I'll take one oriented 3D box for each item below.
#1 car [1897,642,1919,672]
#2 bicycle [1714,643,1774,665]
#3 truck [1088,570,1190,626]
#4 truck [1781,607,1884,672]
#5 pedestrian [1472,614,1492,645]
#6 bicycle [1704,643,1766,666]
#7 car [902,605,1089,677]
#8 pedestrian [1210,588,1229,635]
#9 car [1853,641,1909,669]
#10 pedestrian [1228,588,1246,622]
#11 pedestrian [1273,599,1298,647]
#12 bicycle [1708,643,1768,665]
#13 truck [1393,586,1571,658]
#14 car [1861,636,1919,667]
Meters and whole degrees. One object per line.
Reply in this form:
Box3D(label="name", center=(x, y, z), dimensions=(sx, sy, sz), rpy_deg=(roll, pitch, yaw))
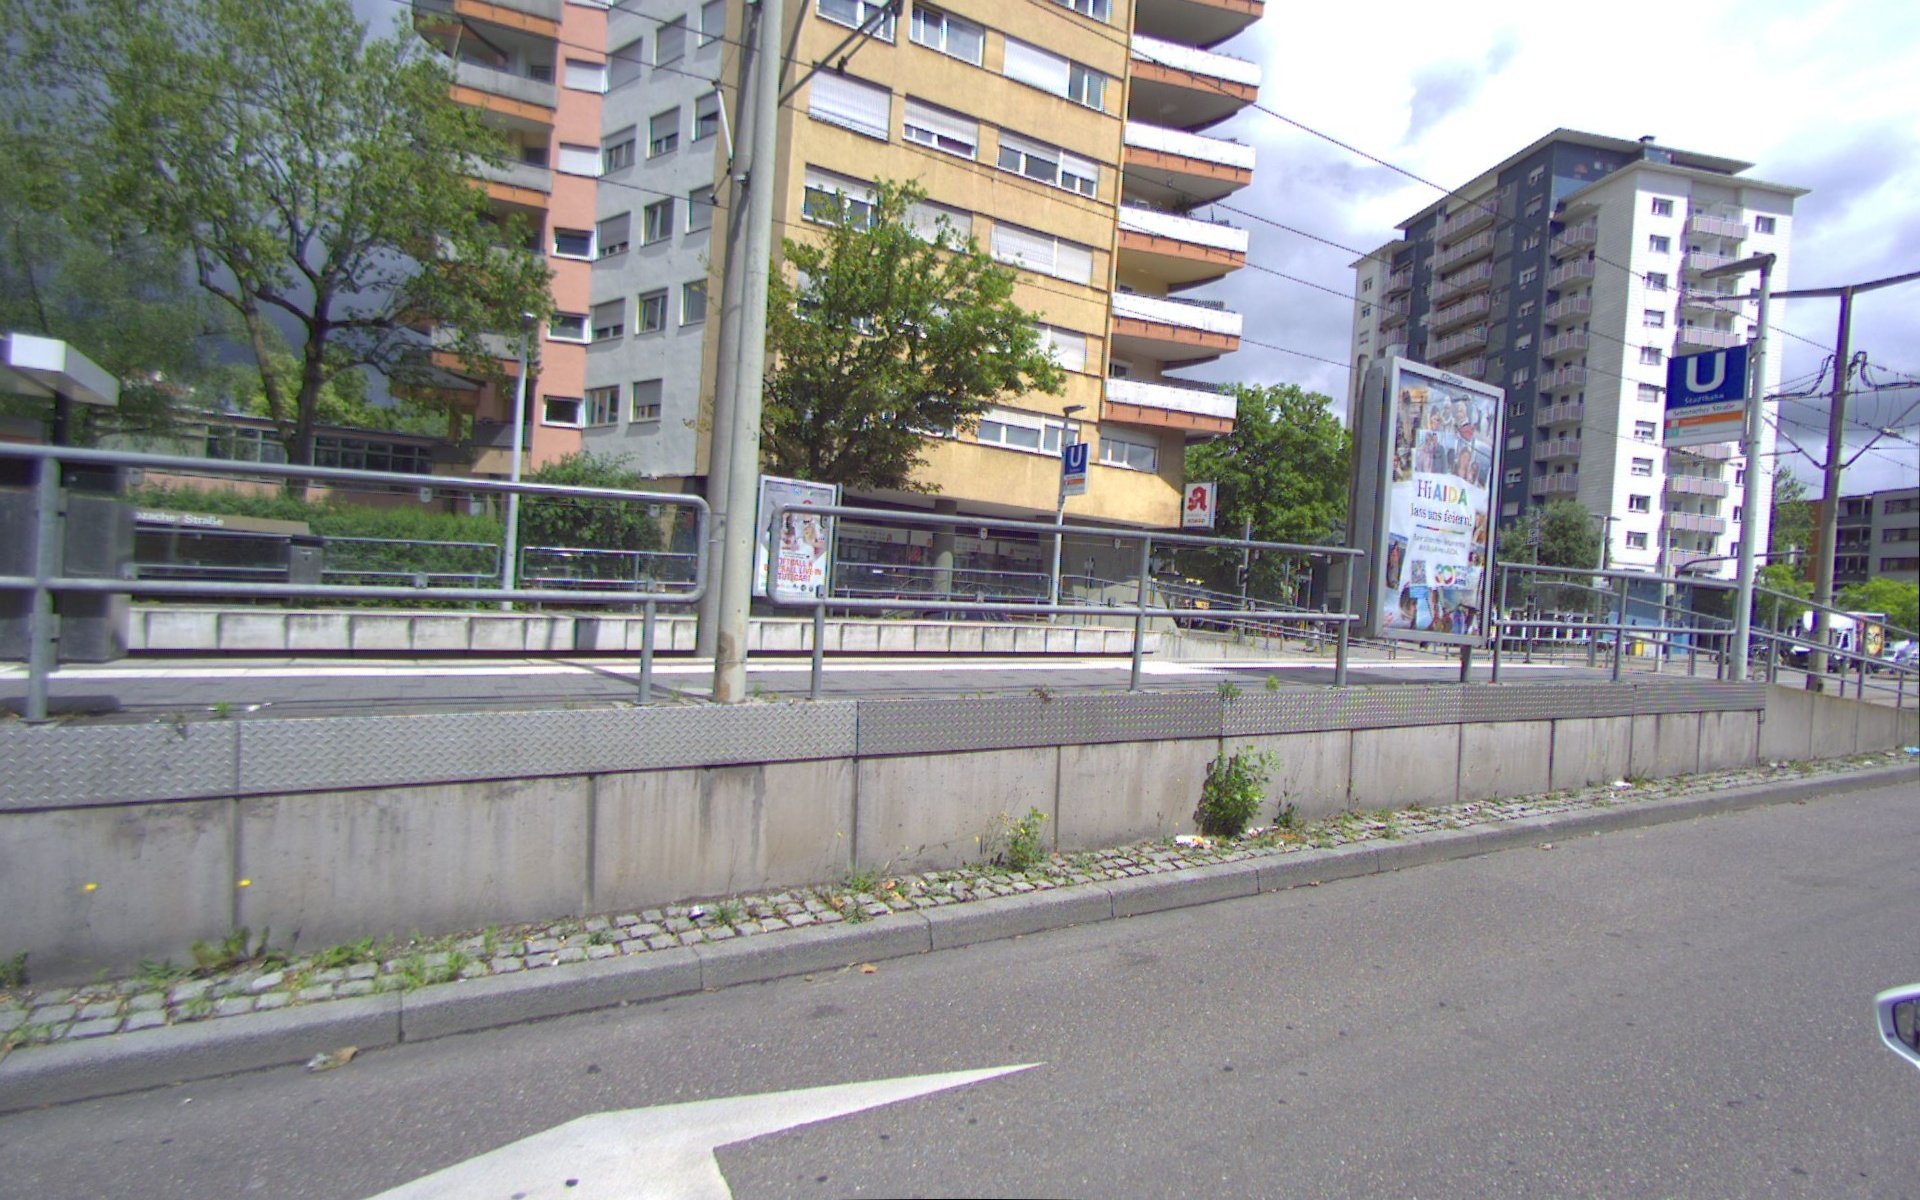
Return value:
Box3D(label="car", center=(59.327, 3.518, 61.744), dimensions=(3.732, 1.780, 1.583), rpy_deg=(2, 0, -31))
Box3D(label="bicycle", center=(43.417, 2.981, 55.678), dimensions=(2.521, 1.022, 0.754), rpy_deg=(4, 0, 33))
Box3D(label="truck", center=(7.984, -0.112, 45.242), dimensions=(2.323, 2.320, 4.260), rpy_deg=(2, 0, -29))
Box3D(label="truck", center=(45.932, 2.093, 52.815), dimensions=(7.244, 3.159, 2.267), rpy_deg=(2, 0, -34))
Box3D(label="pedestrian", center=(35.964, 2.025, 69.199), dimensions=(0.831, 2.040, 0.861), rpy_deg=(2, 0, -2))
Box3D(label="bicycle", center=(41.836, 2.918, 54.260), dimensions=(2.521, 1.022, 0.754), rpy_deg=(4, 0, 33))
Box3D(label="car", center=(0.795, 0.887, 21.885), dimensions=(3.820, 1.424, 1.571), rpy_deg=(2, 0, -30))
Box3D(label="pedestrian", center=(11.524, 0.510, 44.570), dimensions=(0.532, 2.040, 0.559), rpy_deg=(2, 0, -19))
Box3D(label="car", center=(52.250, 3.099, 56.951), dimensions=(3.733, 1.480, 1.399), rpy_deg=(2, 0, -32))
Box3D(label="pedestrian", center=(11.958, 0.224, 43.357), dimensions=(0.541, 1.459, 0.497), rpy_deg=(2, -2, -19))
Box3D(label="pedestrian", center=(12.457, 0.867, 38.450), dimensions=(0.649, 1.799, 0.658), rpy_deg=(2, 0, -1))
Box3D(label="bicycle", center=(42.558, 2.952, 54.985), dimensions=(2.521, 1.022, 0.754), rpy_deg=(4, 0, 33))
Box3D(label="truck", center=(23.629, 0.930, 45.926), dimensions=(2.718, 2.979, 7.258), rpy_deg=(2, 0, -20))
Box3D(label="car", center=(64.657, 3.546, 68.939), dimensions=(3.846, 2.001, 1.657), rpy_deg=(2, 0, 18))
